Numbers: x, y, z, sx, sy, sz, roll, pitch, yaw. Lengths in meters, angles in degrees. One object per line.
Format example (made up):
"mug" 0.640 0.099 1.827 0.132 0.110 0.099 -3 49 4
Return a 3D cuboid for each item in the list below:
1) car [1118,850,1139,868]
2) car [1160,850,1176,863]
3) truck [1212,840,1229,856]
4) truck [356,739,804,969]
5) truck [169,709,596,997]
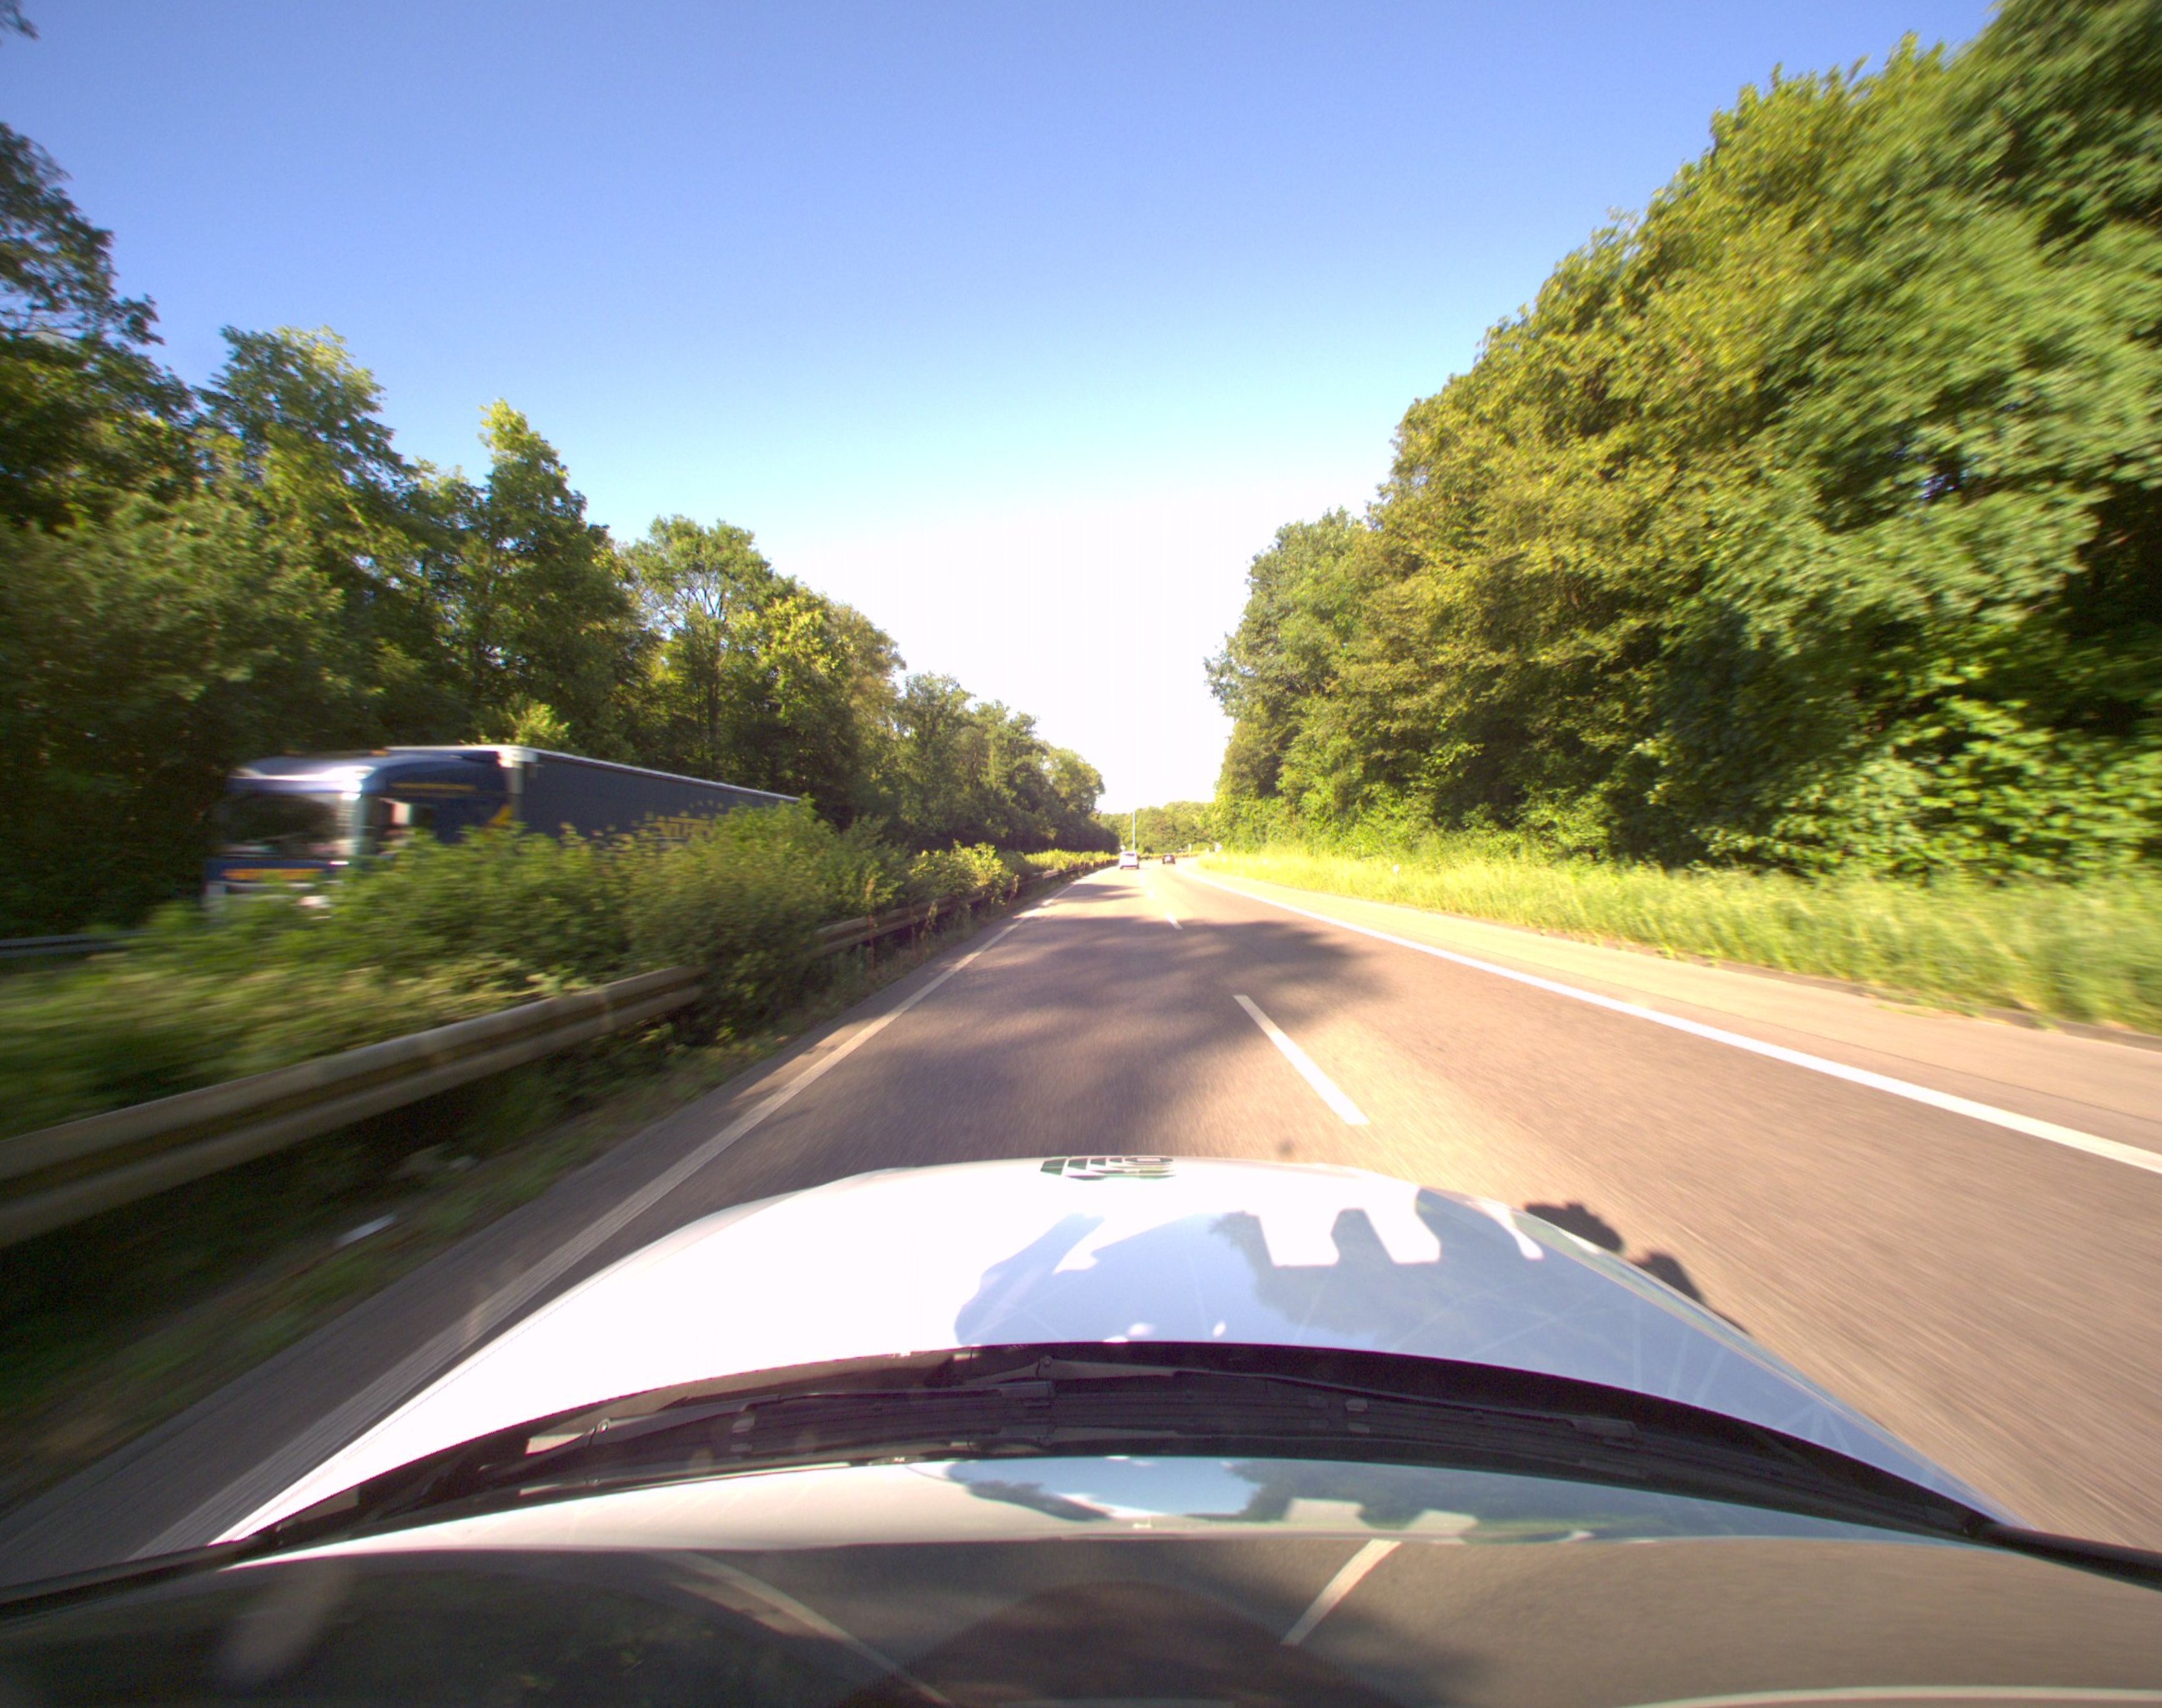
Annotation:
"car" 4.802 0.471 82.284 1.944 1.782 4.588 -1 0 1
"car" 12.446 0.342 116.856 1.944 1.782 4.588 -1 0 1
"truck" 39.208 -1.625 228.328 3.707 4.343 9.341 -1 0 15
"truck" -11.373 0.029 21.592 2.697 4.096 14.029 -1 0 2
"truck" -11.659 -0.002 14.408 2.705 4.096 5.439 -1 0 2
